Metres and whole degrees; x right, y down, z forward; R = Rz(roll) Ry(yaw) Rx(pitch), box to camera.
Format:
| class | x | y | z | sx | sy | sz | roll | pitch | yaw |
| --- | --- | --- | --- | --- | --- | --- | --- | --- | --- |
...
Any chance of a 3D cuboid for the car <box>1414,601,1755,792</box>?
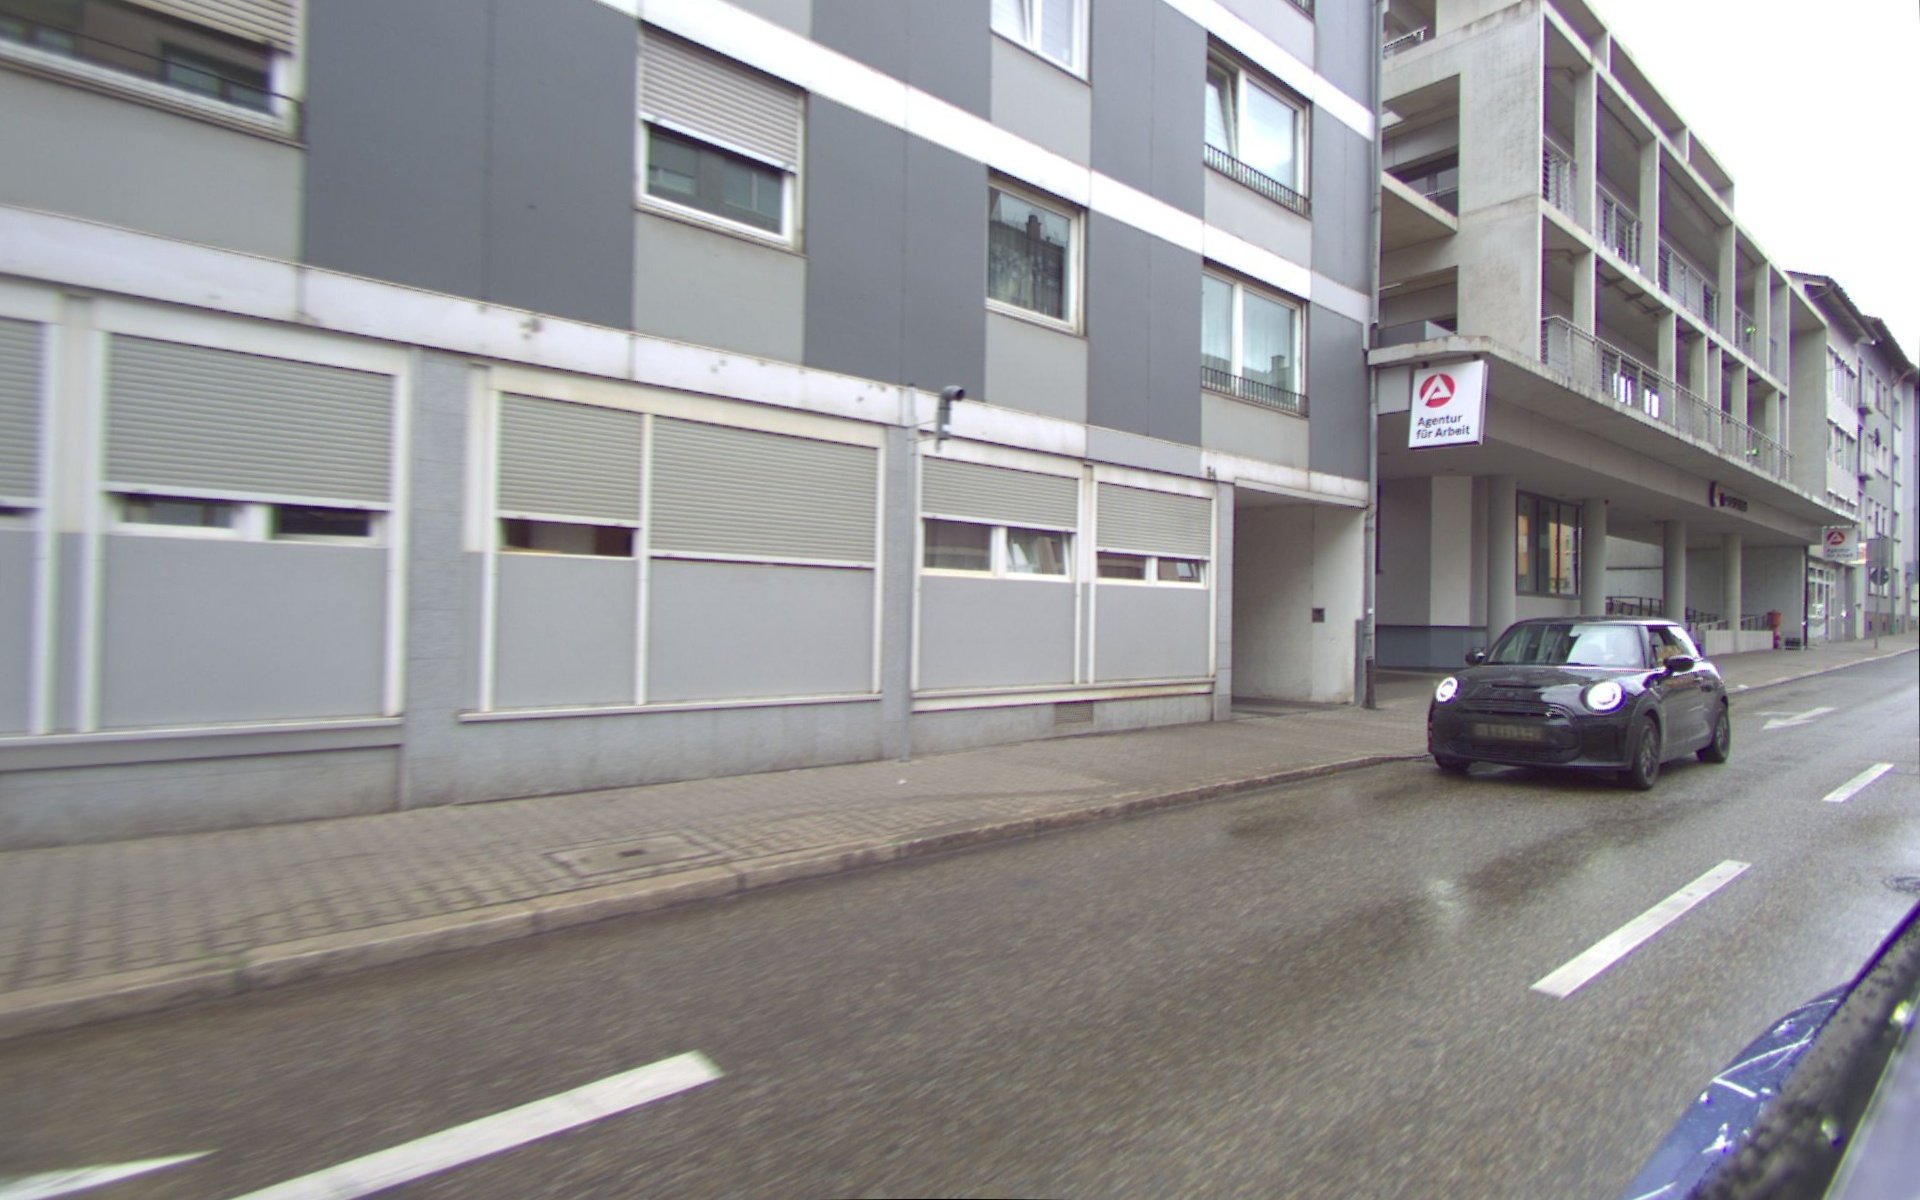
| class | x | y | z | sx | sy | sz | roll | pitch | yaw |
| --- | --- | --- | --- | --- | --- | --- | --- | --- | --- |
| car | 6.060 | 0.769 | 9.631 | 4.002 | 1.439 | 1.662 | 0 | -2 | -42 |
